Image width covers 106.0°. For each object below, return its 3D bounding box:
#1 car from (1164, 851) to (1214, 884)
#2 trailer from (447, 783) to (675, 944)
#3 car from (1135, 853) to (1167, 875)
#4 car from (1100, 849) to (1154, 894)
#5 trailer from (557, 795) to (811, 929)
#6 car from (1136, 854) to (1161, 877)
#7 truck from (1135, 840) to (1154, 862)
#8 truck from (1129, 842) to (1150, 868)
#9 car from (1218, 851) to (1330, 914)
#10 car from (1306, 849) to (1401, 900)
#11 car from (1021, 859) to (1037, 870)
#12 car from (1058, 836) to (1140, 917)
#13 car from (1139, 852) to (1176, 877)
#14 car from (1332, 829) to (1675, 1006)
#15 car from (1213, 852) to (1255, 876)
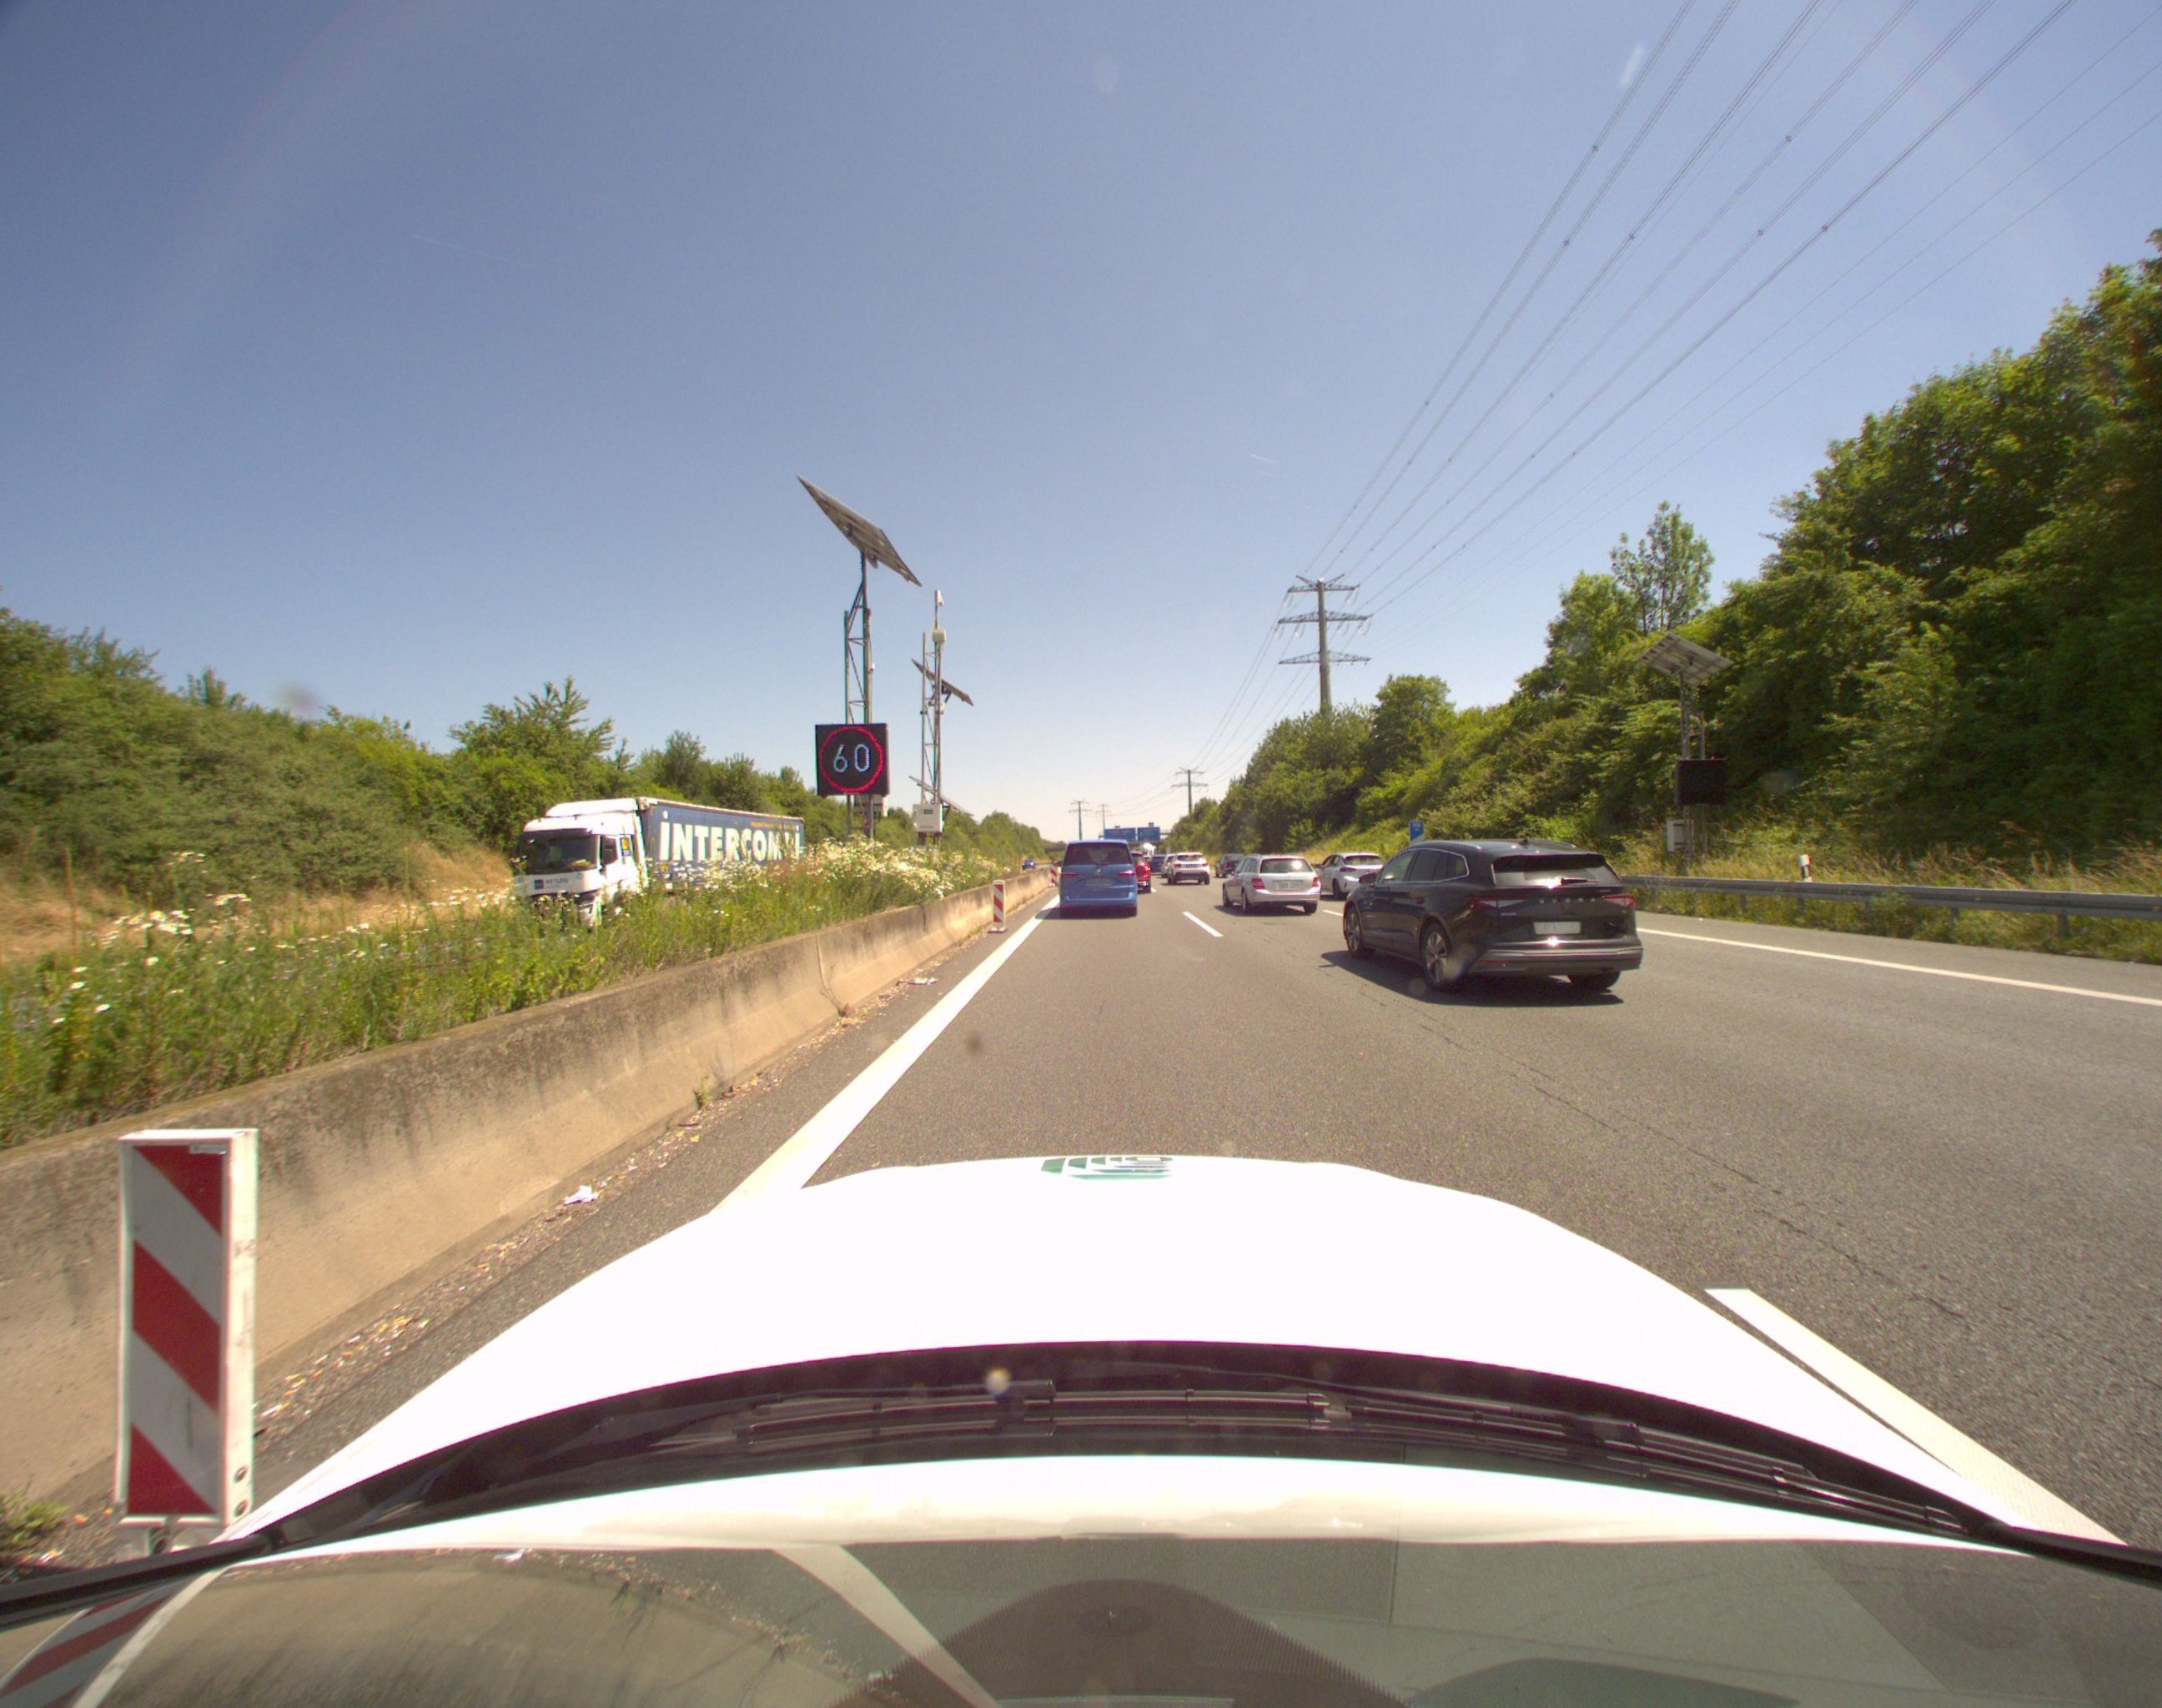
[{"bbox_3d":[5.213,0.627,39.717,1.903,1.508,3.920,0,0,-1],"label":"car"},{"bbox_3d":[-15.056,0.256,24.178,2.950,4.057,5.435,-3,0,1],"label":"trailer"},{"bbox_3d":[5.038,0.694,58.911,1.903,1.516,4.382,0,0,-1],"label":"car"},{"bbox_3d":[1.783,0.647,32.584,1.902,1.631,4.383,-1,0,0],"label":"car"},{"bbox_3d":[-14.843,0.258,32.582,2.950,4.056,13.599,-3,0,1],"label":"trailer"},{"bbox_3d":[6.073,0.990,73.164,1.986,2.013,4.001,0,0,1],"label":"car"},{"bbox_3d":[12.762,-0.562,164.870,2.636,4.072,16.439,0,0,0],"label":"truck"},{"bbox_3d":[6.520,0.097,90.895,1.987,2.723,5.679,0,0,0],"label":"truck"},{"bbox_3d":[4.816,0.662,20.961,1.815,1.437,4.382,0,0,-1],"label":"car"},{"bbox_3d":[8.530,0.606,25.881,1.735,1.470,4.015,-1,0,1],"label":"car"},{"bbox_3d":[-7.881,1.571,123.736,1.986,1.546,4.913,-2,0,1],"label":"car"},{"bbox_3d":[0.352,0.533,21.182,1.866,1.879,4.379,0,0,-2],"label":"car"},{"bbox_3d":[4.788,0.656,51.462,1.903,1.516,4.382,0,0,-1],"label":"car"},{"bbox_3d":[4.595,0.593,9.746,1.822,1.614,4.430,-1,0,0],"label":"car"},{"bbox_3d":[9.251,0.606,49.621,1.729,1.378,4.301,0,0,-1],"label":"car"}]
